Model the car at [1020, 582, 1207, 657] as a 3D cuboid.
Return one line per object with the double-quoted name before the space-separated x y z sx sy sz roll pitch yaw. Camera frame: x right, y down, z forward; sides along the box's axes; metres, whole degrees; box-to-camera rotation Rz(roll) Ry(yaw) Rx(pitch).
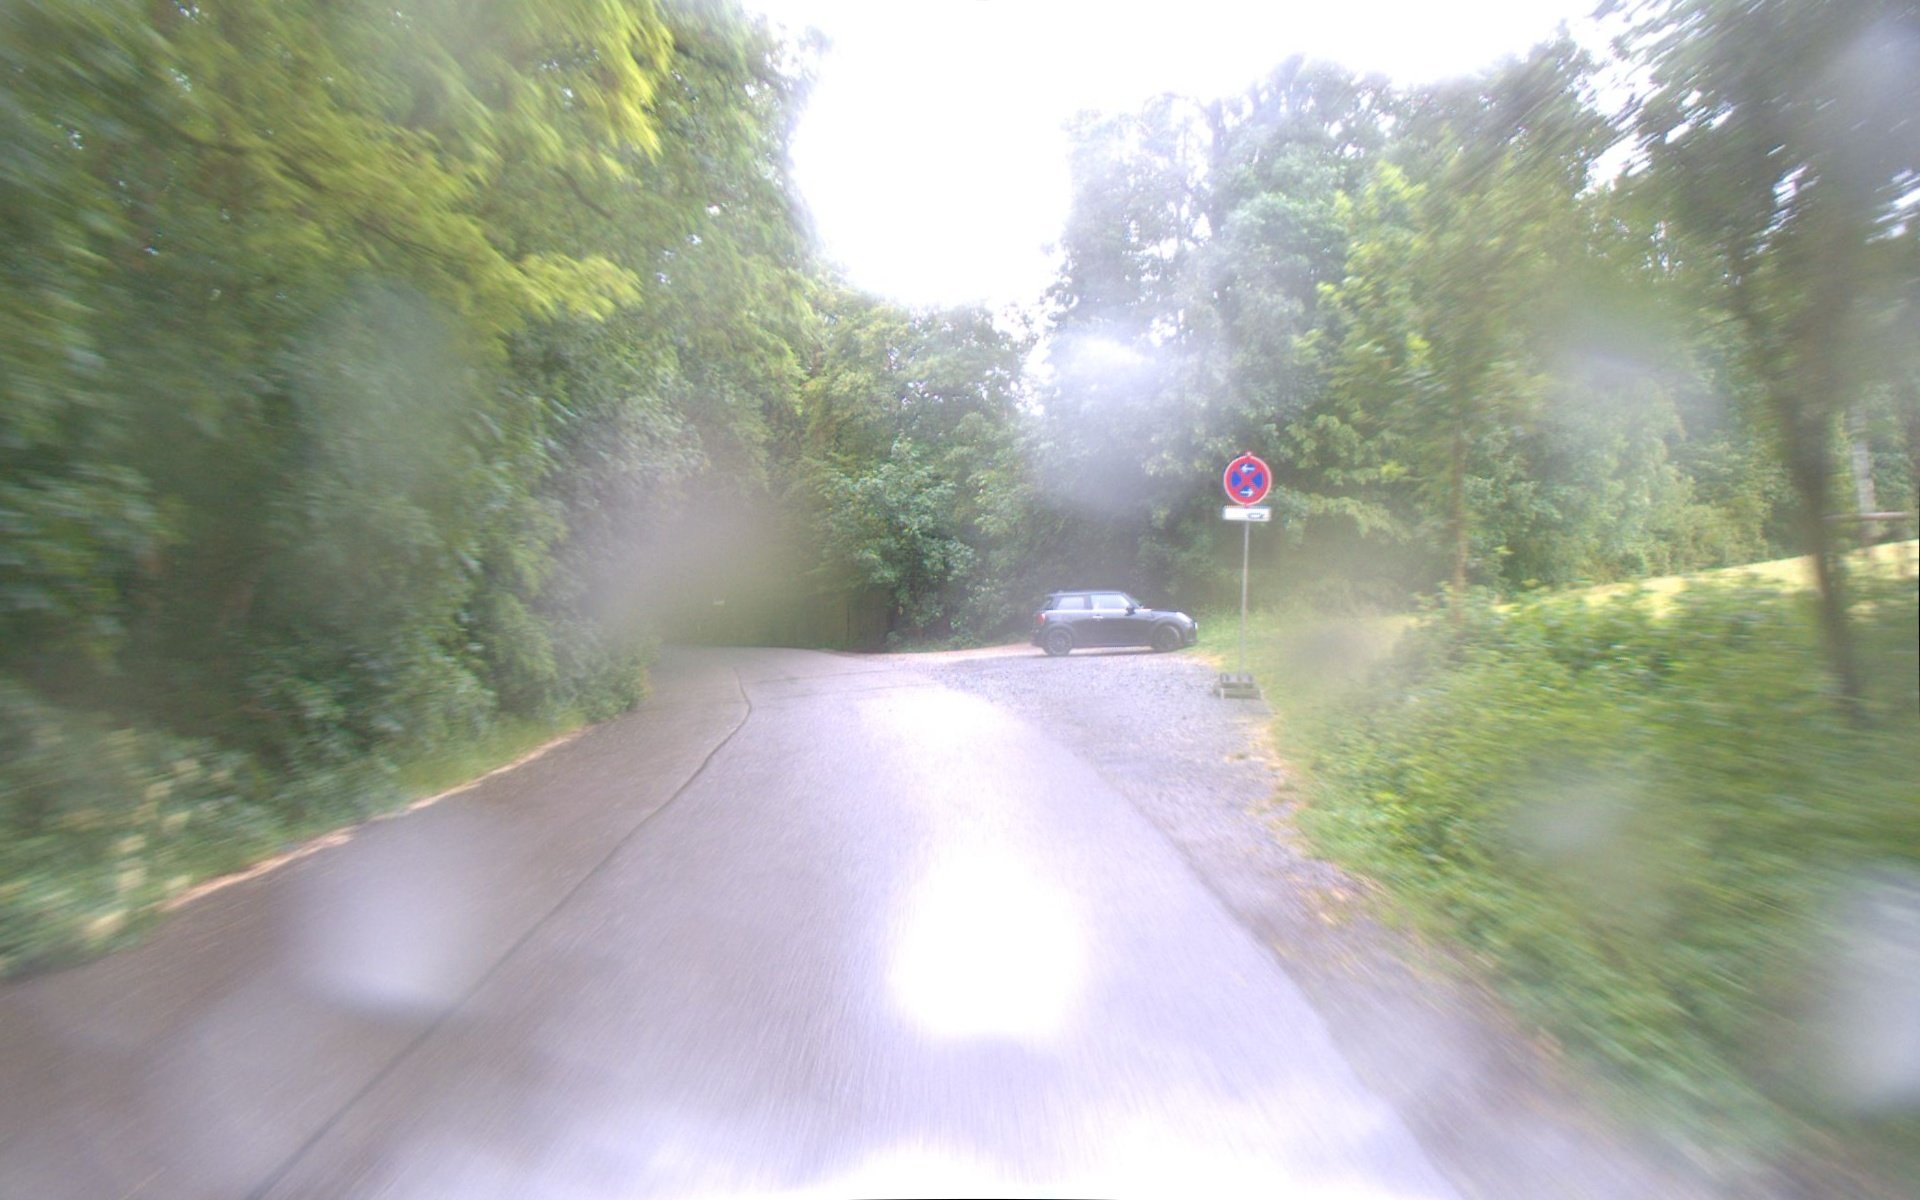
"car" 3.434 0.427 37.551 3.908 1.415 1.999 -4 0 -3
